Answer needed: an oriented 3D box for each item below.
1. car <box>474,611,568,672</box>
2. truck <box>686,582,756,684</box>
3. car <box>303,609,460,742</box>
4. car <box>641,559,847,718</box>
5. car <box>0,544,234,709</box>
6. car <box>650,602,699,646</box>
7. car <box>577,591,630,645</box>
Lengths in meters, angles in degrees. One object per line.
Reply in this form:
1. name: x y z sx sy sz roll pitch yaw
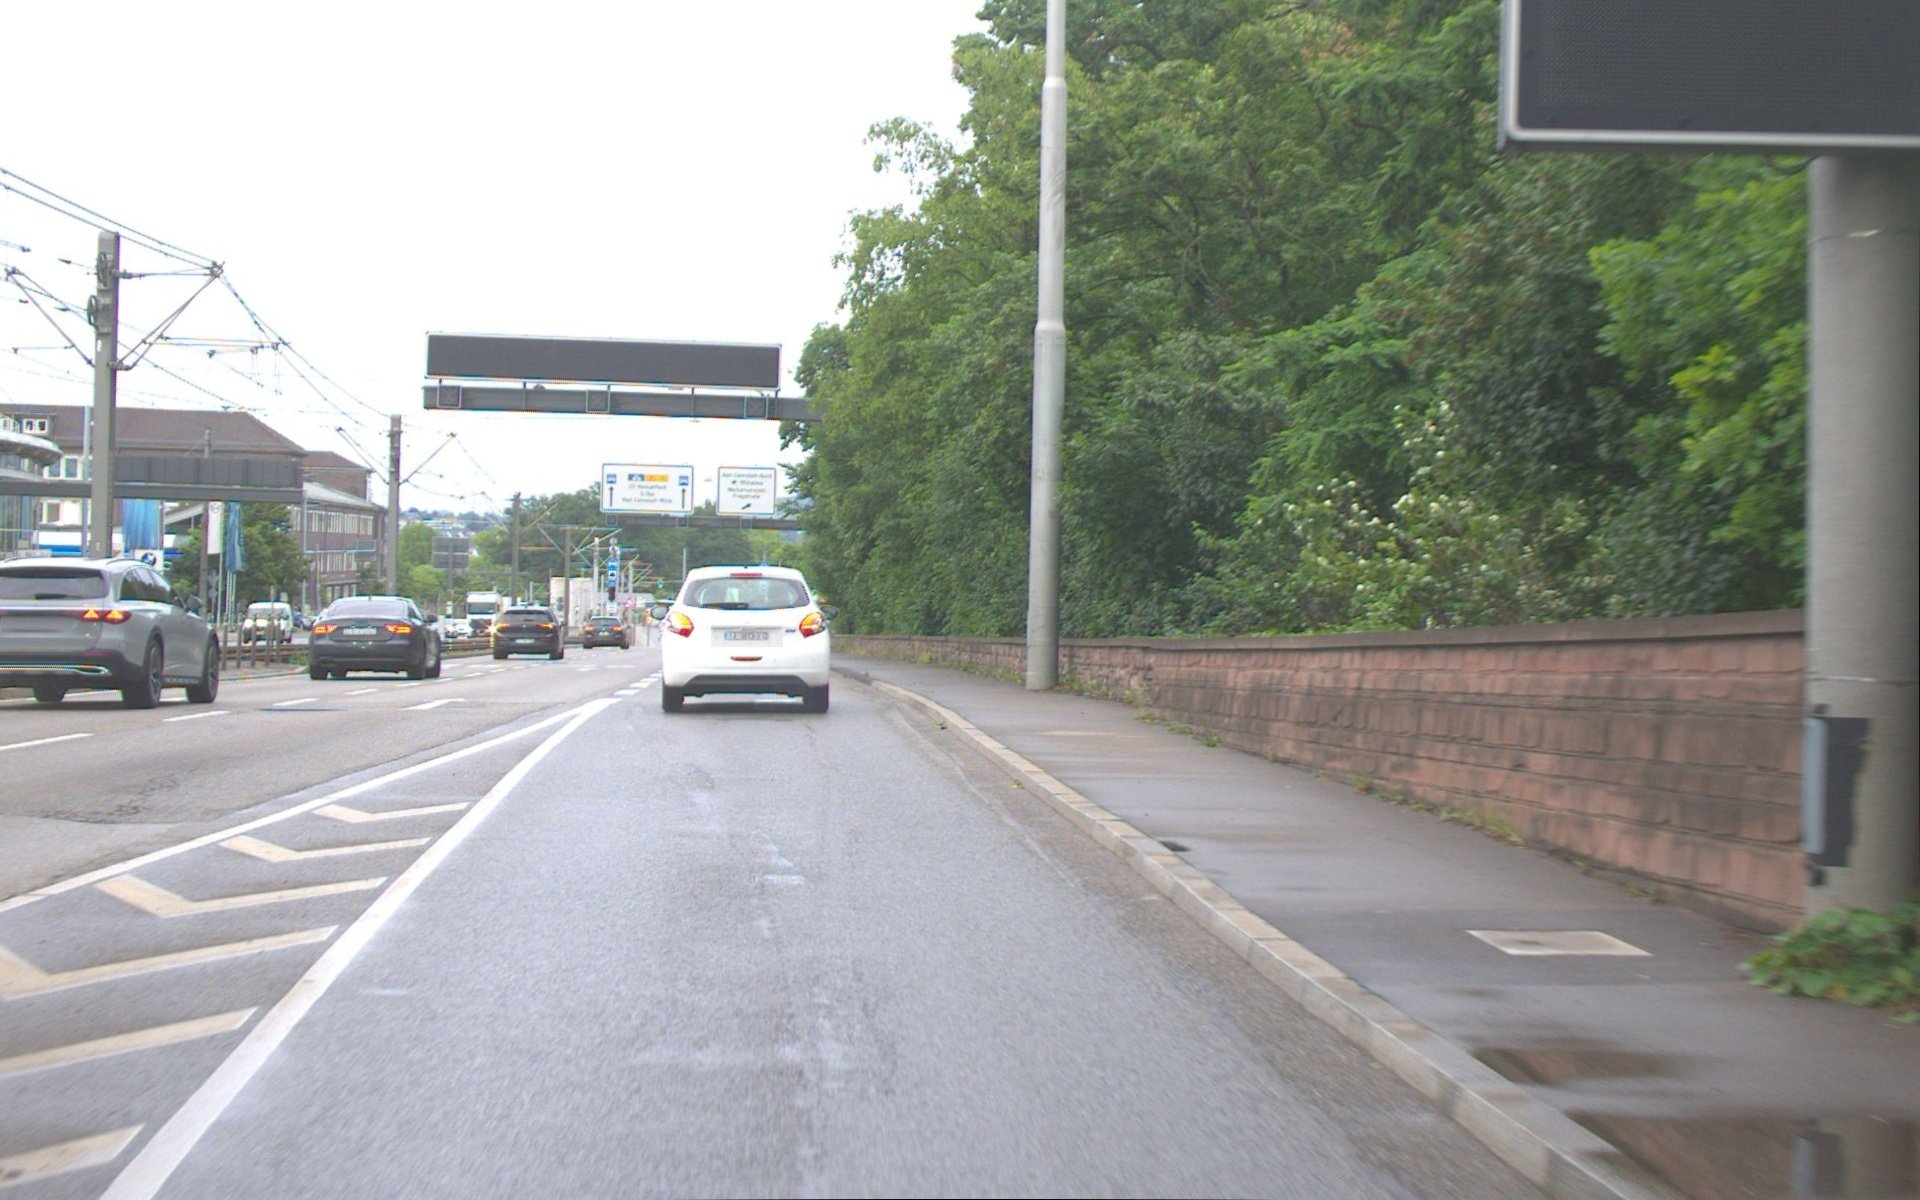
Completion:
1. car: -11.941 1.149 93.654 1.993 1.570 4.000 1 -1 0
2. truck: -14.344 2.063 207.381 3.464 5.383 12.050 2 -4 -1
3. car: -9.367 1.194 55.910 1.722 1.885 3.535 1 3 4
4. car: -2.230 0.414 35.655 1.955 1.483 4.000 2 -1 -3
5. car: -8.828 0.295 34.759 1.821 1.560 4.091 -1 -1 4
6. car: -12.919 1.097 155.673 2.081 1.866 4.096 1 -1 -3
7. car: -15.112 0.786 145.893 1.993 2.007 4.000 2 -4 -4
